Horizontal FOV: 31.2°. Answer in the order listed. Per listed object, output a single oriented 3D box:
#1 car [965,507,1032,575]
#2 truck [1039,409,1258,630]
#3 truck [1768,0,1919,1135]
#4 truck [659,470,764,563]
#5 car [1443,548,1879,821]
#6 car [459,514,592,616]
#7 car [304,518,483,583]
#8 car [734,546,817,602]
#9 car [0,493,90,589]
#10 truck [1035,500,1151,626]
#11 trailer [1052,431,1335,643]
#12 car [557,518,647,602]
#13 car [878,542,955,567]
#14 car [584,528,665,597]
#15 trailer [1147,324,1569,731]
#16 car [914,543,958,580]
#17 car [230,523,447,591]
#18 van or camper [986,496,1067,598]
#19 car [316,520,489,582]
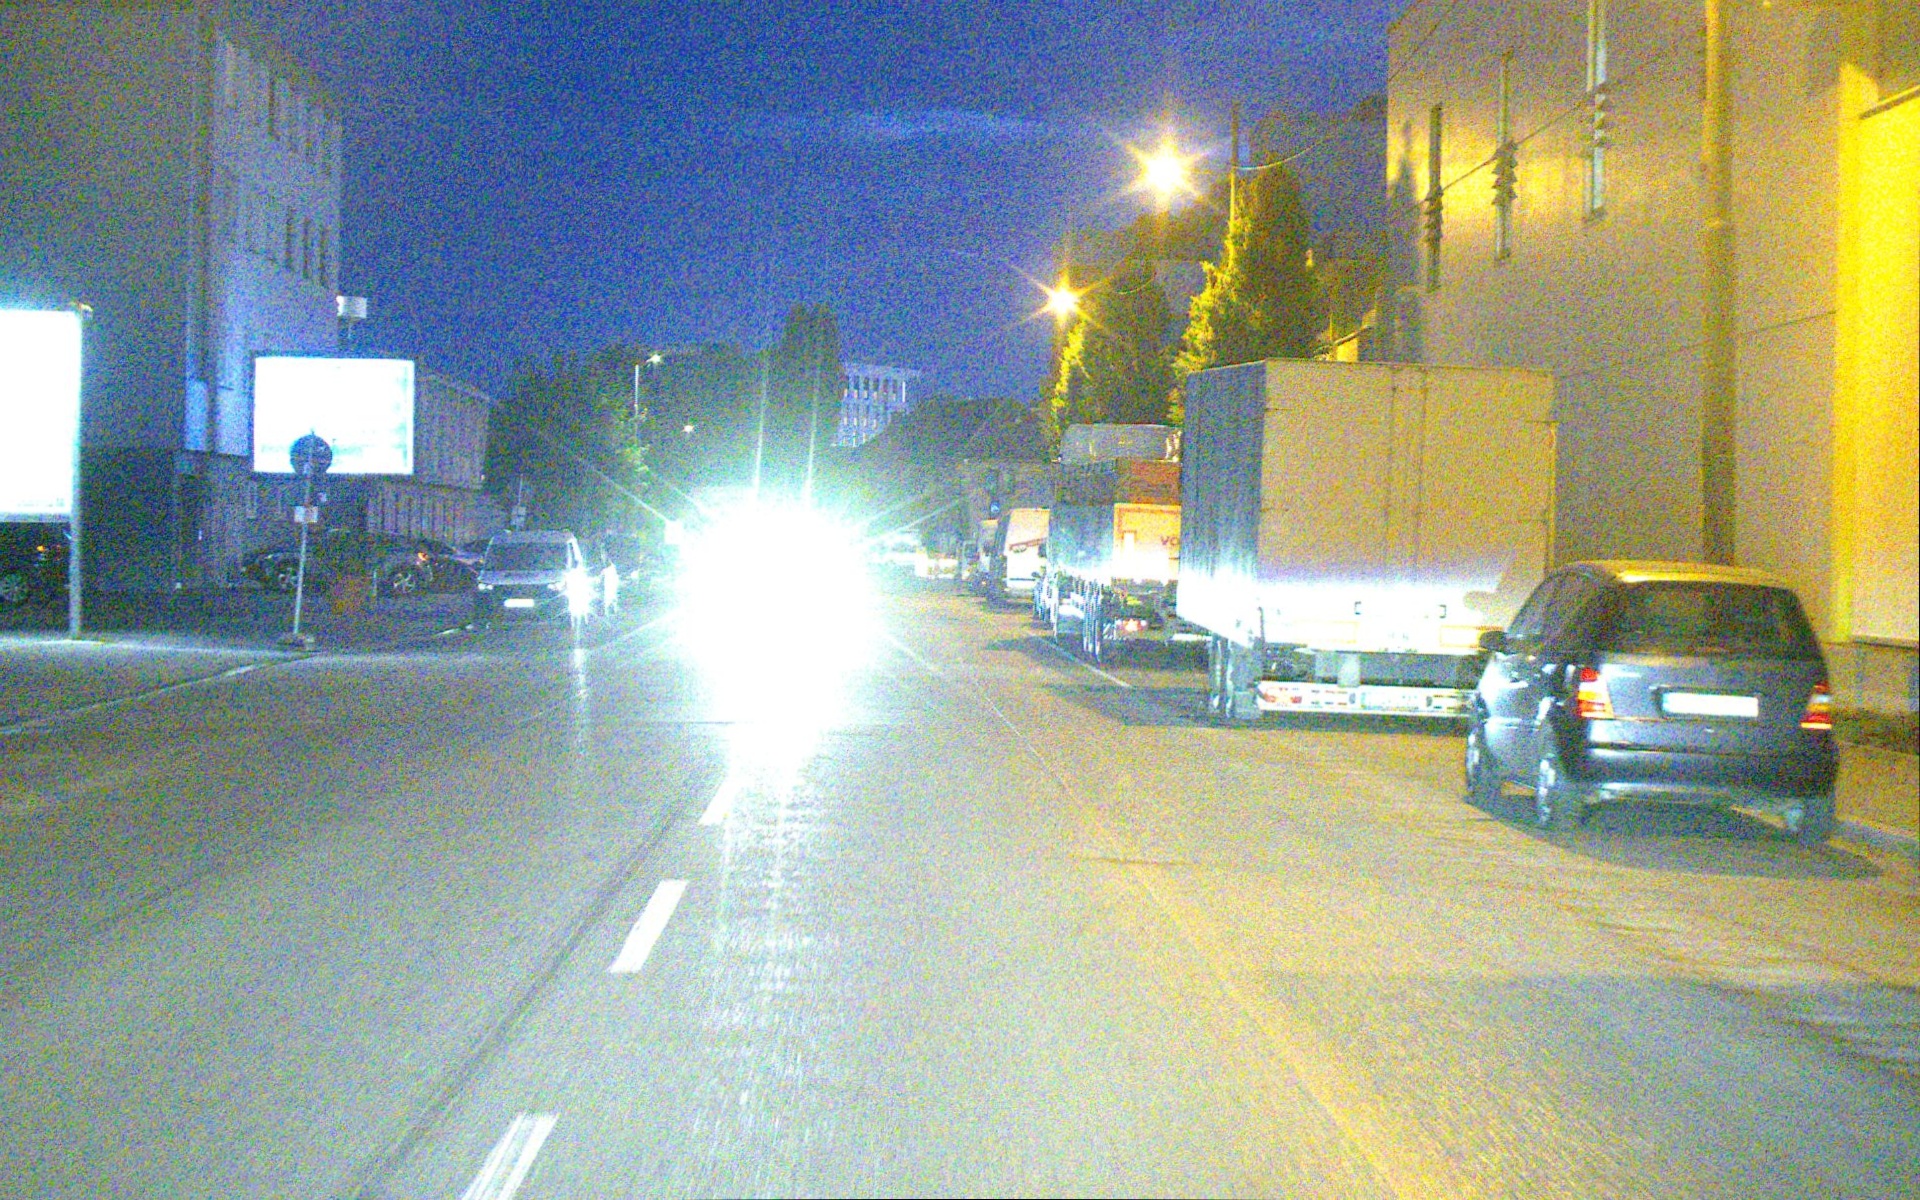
[{"bbox_3d":[1.231,-1.907,111.484,1.993,2.138,4.000,1,1,-1],"label":"car"},{"bbox_3d":[3.037,-1.293,57.197,3.151,3.451,6.673,0,0,-1],"label":"truck"},{"bbox_3d":[4.465,-0.543,5.411,3.520,3.970,10.343,0,0,-3],"label":"truck"},{"bbox_3d":[-10.241,-3.407,140.895,3.889,3.609,8.262,1,1,-6],"label":"truck"},{"bbox_3d":[4.175,0.456,21.064,1.852,1.514,3.818,0,0,0],"label":"car"},{"bbox_3d":[-8.020,-0.664,63.745,1.993,1.787,4.000,1,1,-1],"label":"car"},{"bbox_3d":[-14.111,-1.235,85.678,3.986,1.589,2.000,0,0,-27],"label":"car"},{"bbox_3d":[-4.807,-0.698,89.928,1.993,1.393,4.000,1,1,-1],"label":"car"},{"bbox_3d":[-17.603,-1.076,60.763,3.986,1.645,2.000,1,1,-4],"label":"car"},{"bbox_3d":[2.644,-0.770,69.369,1.993,2.399,5.293,1,1,-1],"label":"truck"},{"bbox_3d":[3.183,-0.867,50.059,3.184,2.739,10.716,0,0,-1],"label":"trailer"},{"bbox_3d":[-7.766,-0.886,74.758,1.678,1.730,4.356,1,1,-3],"label":"car"},{"bbox_3d":[-2.596,-2.707,206.348,4.531,1.375,2.000,1,0,3],"label":"car"},{"bbox_3d":[-8.711,-0.994,89.519,1.897,1.730,4.356,1,1,-3],"label":"car"},{"bbox_3d":[3.671,-0.667,33.739,2.686,3.452,7.810,2,0,-3],"label":"trailer"},{"bbox_3d":[-1.144,-1.817,161.834,1.993,1.678,4.000,1,1,-1],"label":"car"},{"bbox_3d":[-14.506,-1.012,80.238,4.612,1.480,2.001,1,1,-23],"label":"car"},{"bbox_3d":[1.732,-1.416,91.092,1.993,2.573,4.915,1,1,0],"label":"van or camper"},{"bbox_3d":[-14.364,-1.259,88.594,3.986,1.589,2.000,0,0,-27],"label":"car"}]
